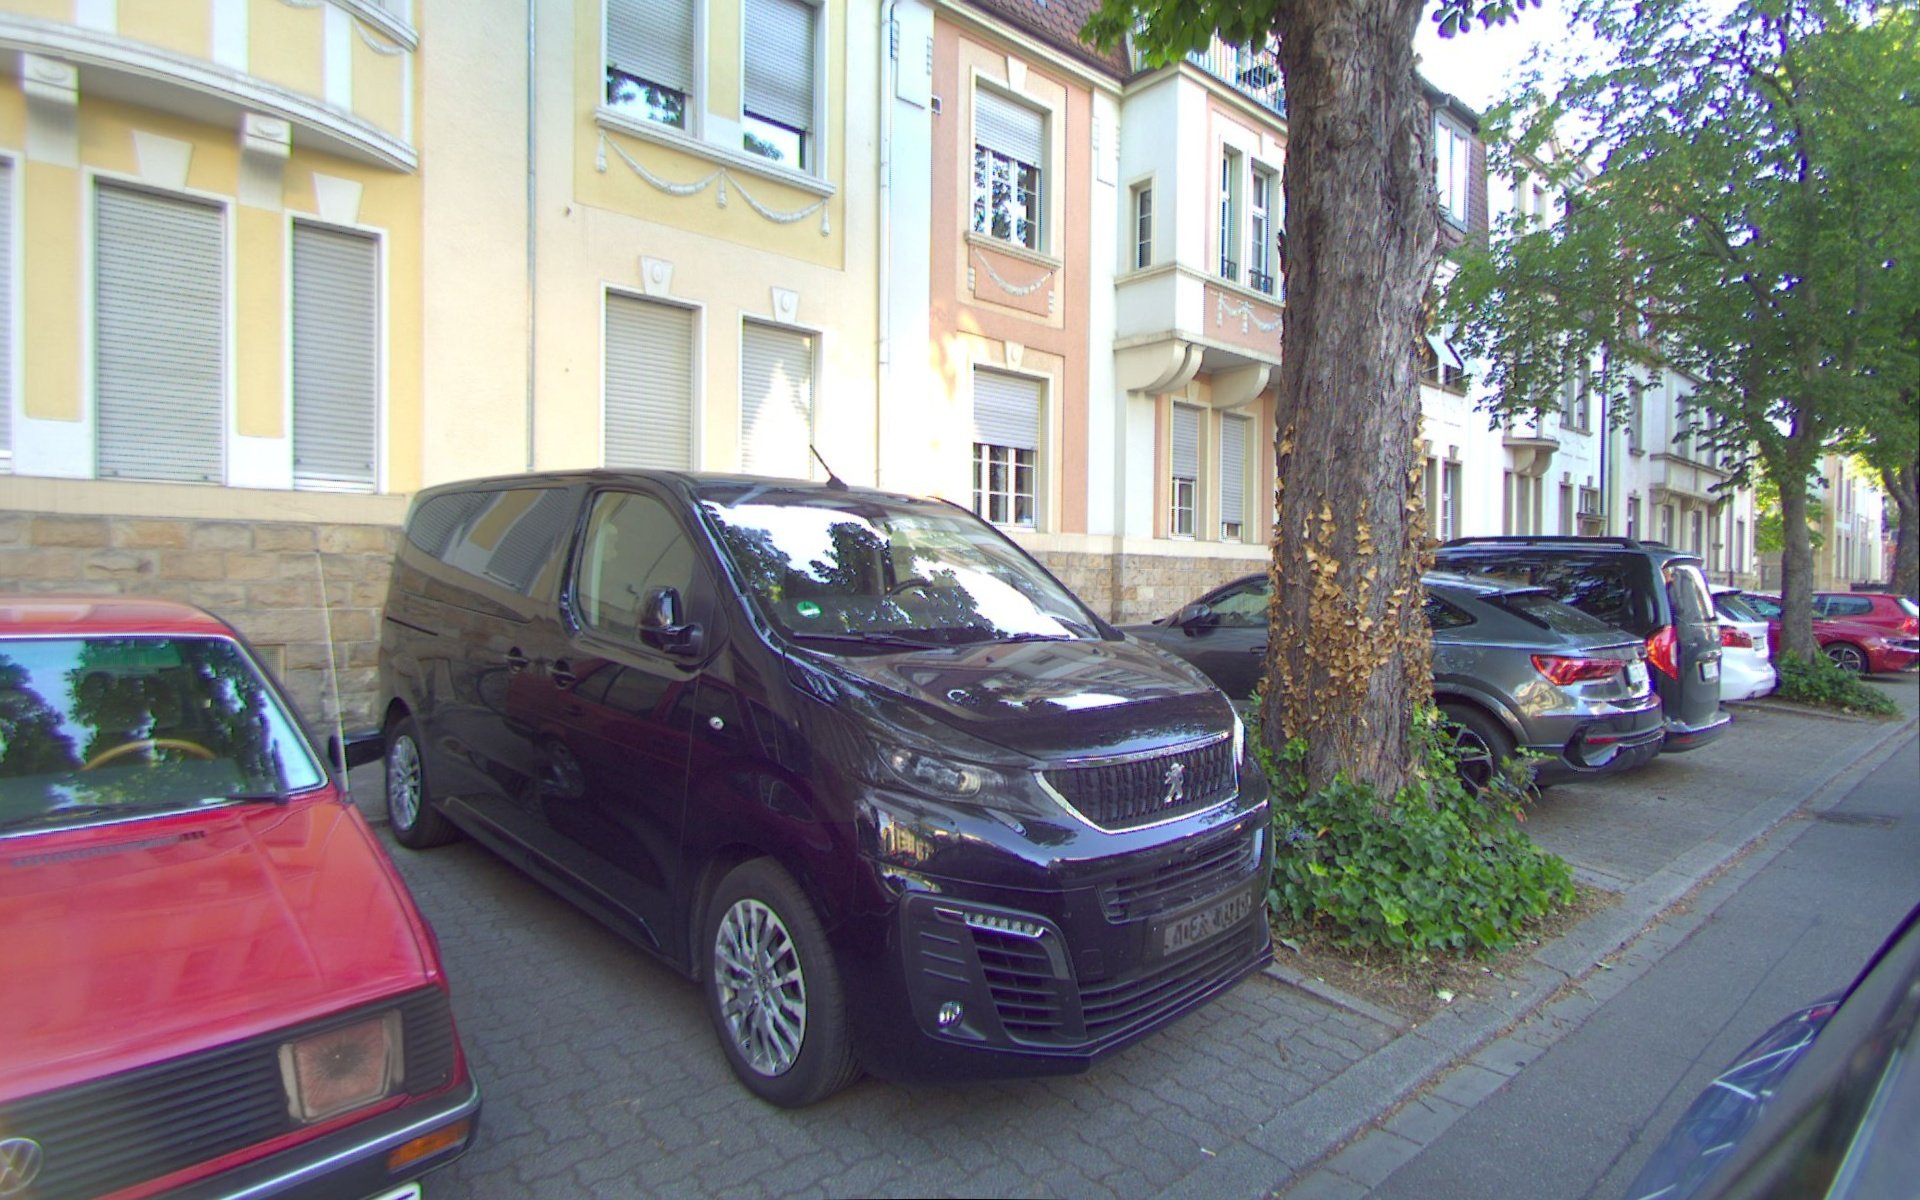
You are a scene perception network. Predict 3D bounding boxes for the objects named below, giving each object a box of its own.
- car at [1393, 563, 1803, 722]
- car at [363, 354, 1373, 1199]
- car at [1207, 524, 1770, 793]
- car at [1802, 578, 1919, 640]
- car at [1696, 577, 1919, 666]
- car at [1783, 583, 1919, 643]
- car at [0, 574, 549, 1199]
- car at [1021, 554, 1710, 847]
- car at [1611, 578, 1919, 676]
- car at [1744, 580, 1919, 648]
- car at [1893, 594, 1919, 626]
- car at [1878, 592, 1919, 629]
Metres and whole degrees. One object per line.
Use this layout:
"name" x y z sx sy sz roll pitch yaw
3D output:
"car" 7.705 0.381 12.524 1.689 1.597 3.948 0 3 -41
"car" -0.937 0.330 4.475 1.867 1.897 4.753 -1 3 -44
"car" 4.520 0.312 9.145 1.814 1.860 4.116 -1 3 -42
"car" 25.873 0.235 28.031 1.548 1.576 3.681 0 3 -39
"car" 16.897 0.357 19.818 1.628 1.499 3.682 0 3 -38
"car" 24.007 0.323 26.411 1.548 1.416 3.681 0 3 -39
"car" -2.873 0.633 3.034 1.603 1.332 4.139 -1 3 -44
"car" 2.746 0.458 7.701 1.815 1.542 4.513 -1 3 -44
"car" 14.788 0.387 18.462 1.833 1.470 4.533 0 3 -38
"car" 21.855 0.301 24.973 1.548 1.484 3.681 0 3 -39
"car" 34.278 0.382 34.529 1.515 1.076 3.399 0 3 -39
"car" 31.898 0.383 32.466 1.515 1.164 3.399 0 3 -39
